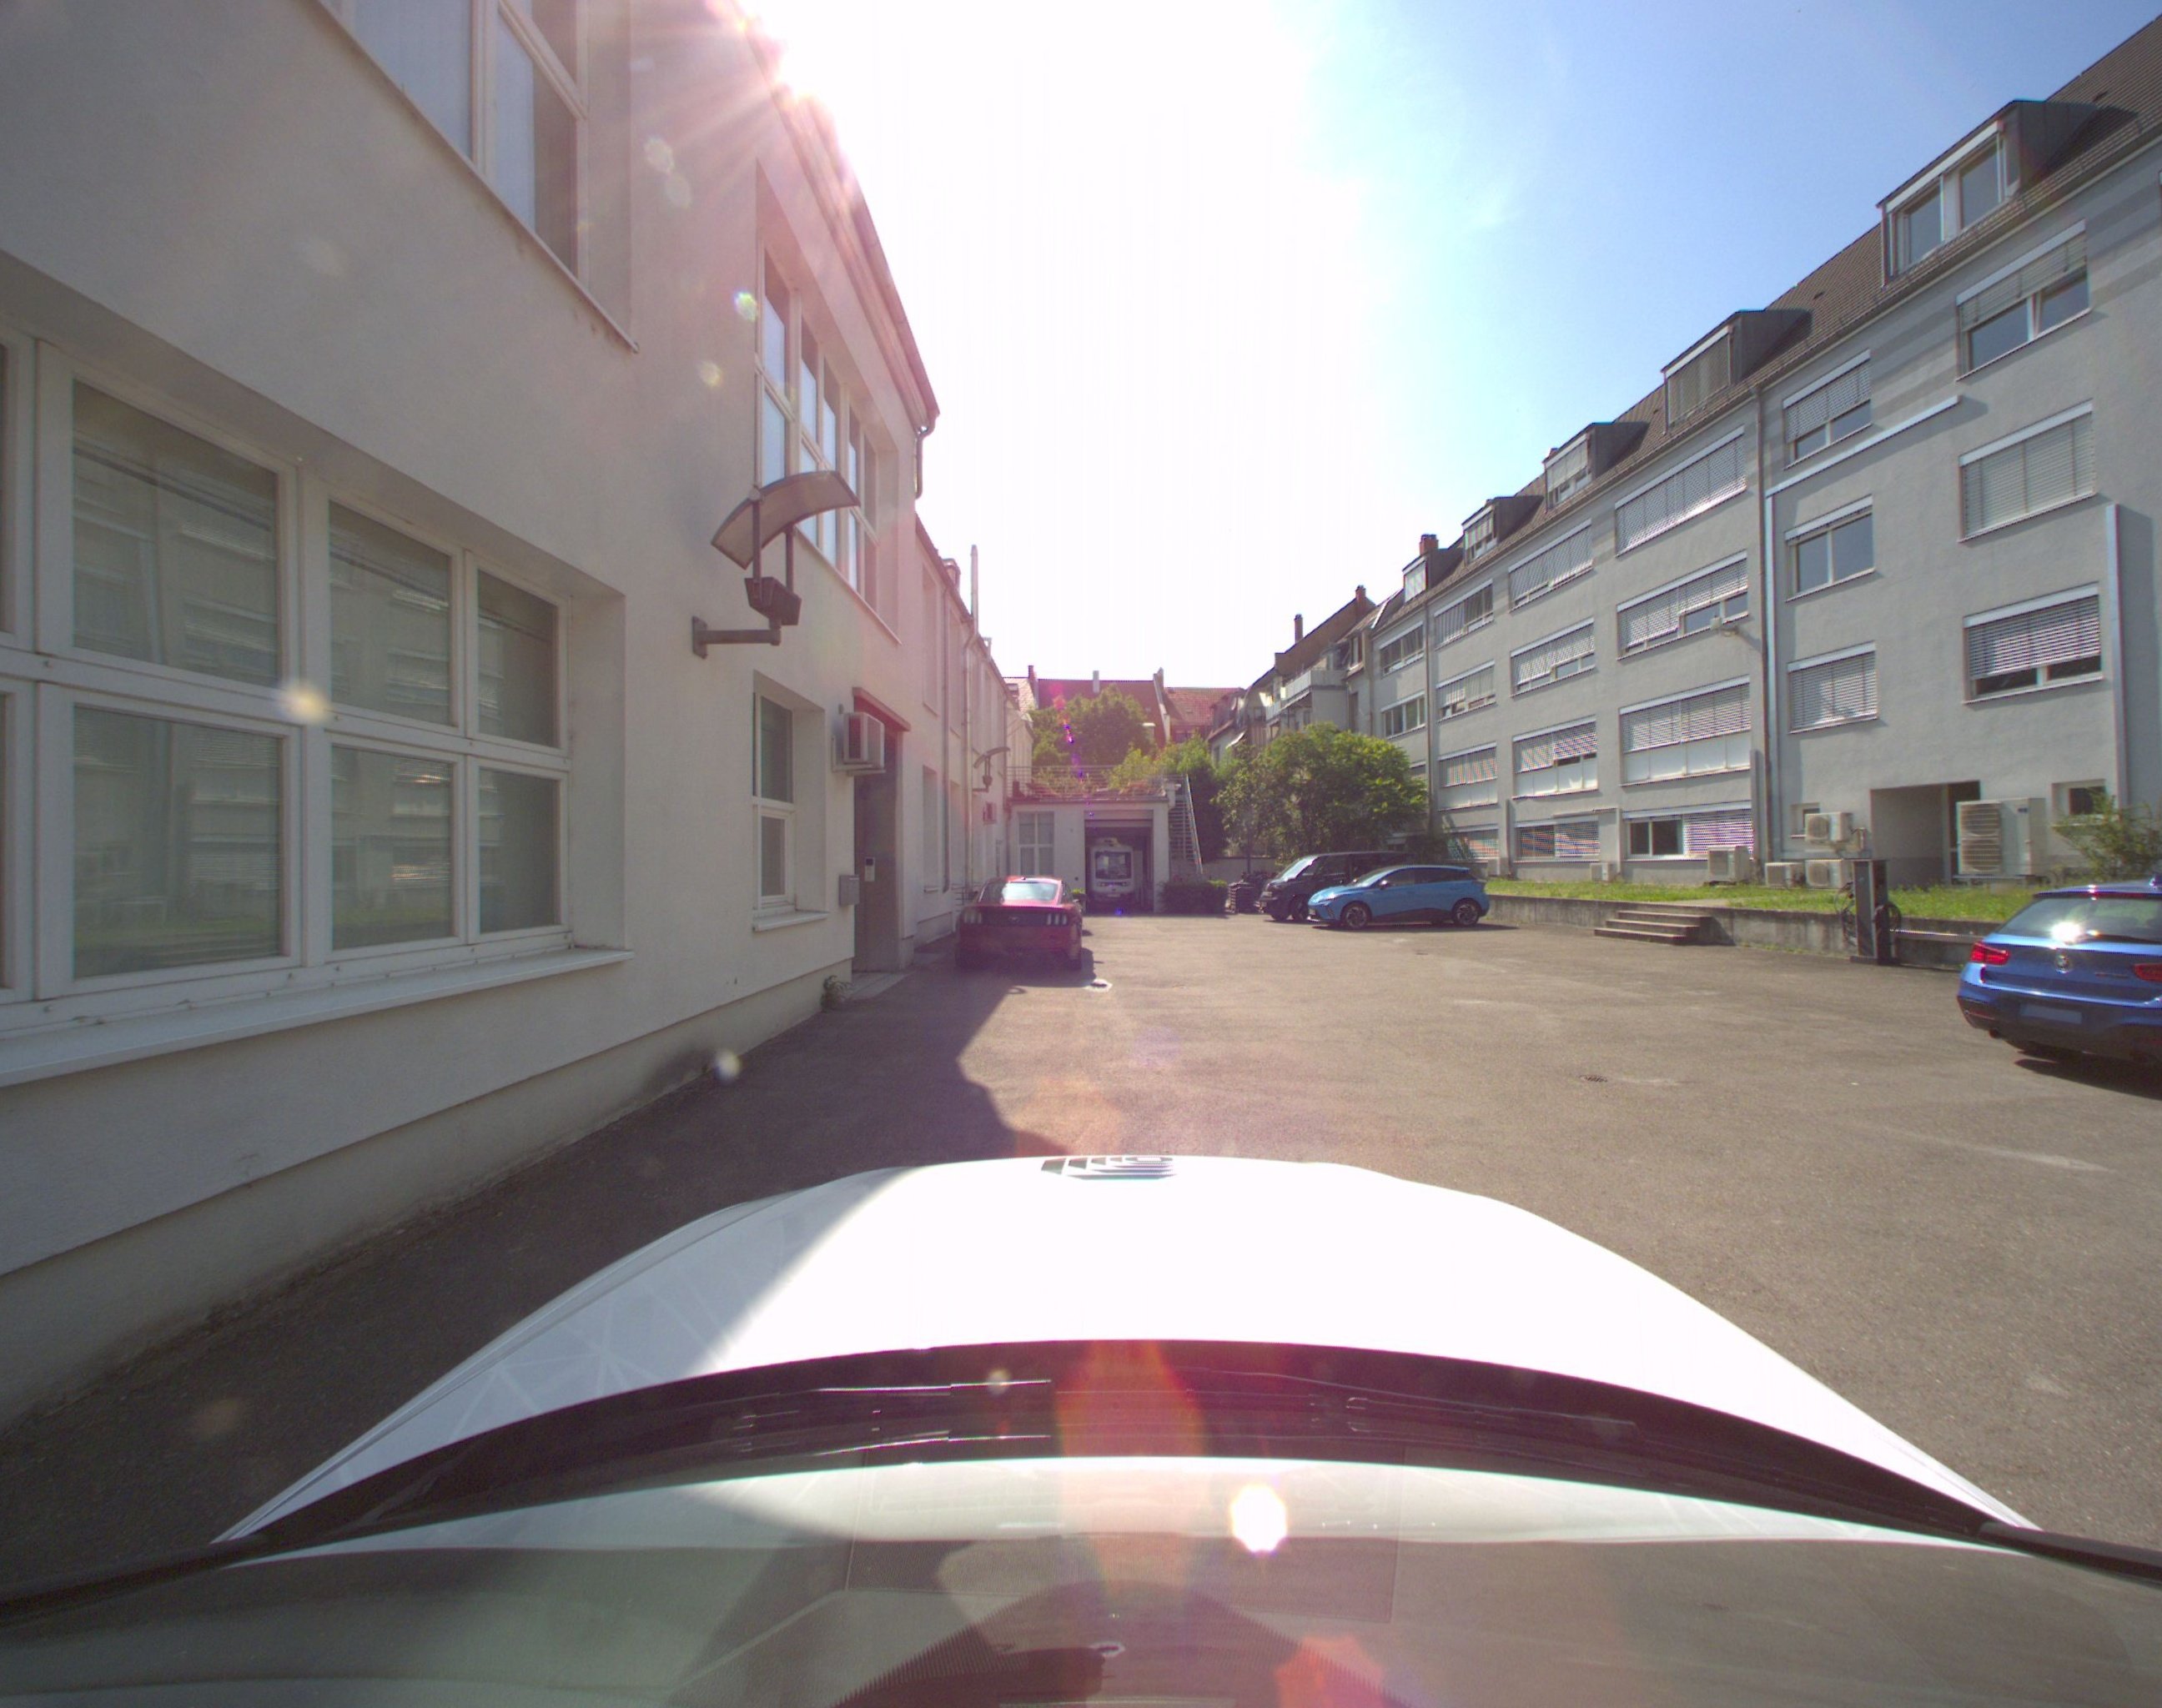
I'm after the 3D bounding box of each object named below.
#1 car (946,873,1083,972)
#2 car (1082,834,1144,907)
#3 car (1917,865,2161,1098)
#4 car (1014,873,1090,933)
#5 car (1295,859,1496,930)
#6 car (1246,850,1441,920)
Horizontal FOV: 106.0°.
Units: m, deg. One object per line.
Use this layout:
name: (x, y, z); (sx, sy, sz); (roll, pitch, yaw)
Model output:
car: (-0.924, 1.001, 13.359); (1.845, 1.319, 4.000); (1, -1, 1)
car: (1.283, 0.666, 33.167); (2.166, 2.607, 6.736); (-2, -1, 2)
car: (8.660, 0.769, 5.639); (3.973, 1.394, 1.689); (-1, -1, 1)
car: (-0.634, 1.143, 20.182); (1.608, 1.295, 3.760); (-1, -1, 2)
car: (7.708, 0.960, 20.240); (4.218, 1.532, 1.998); (-2, 0, -3)
car: (7.504, 0.836, 23.498); (4.954, 1.767, 2.088); (-2, 0, -12)
